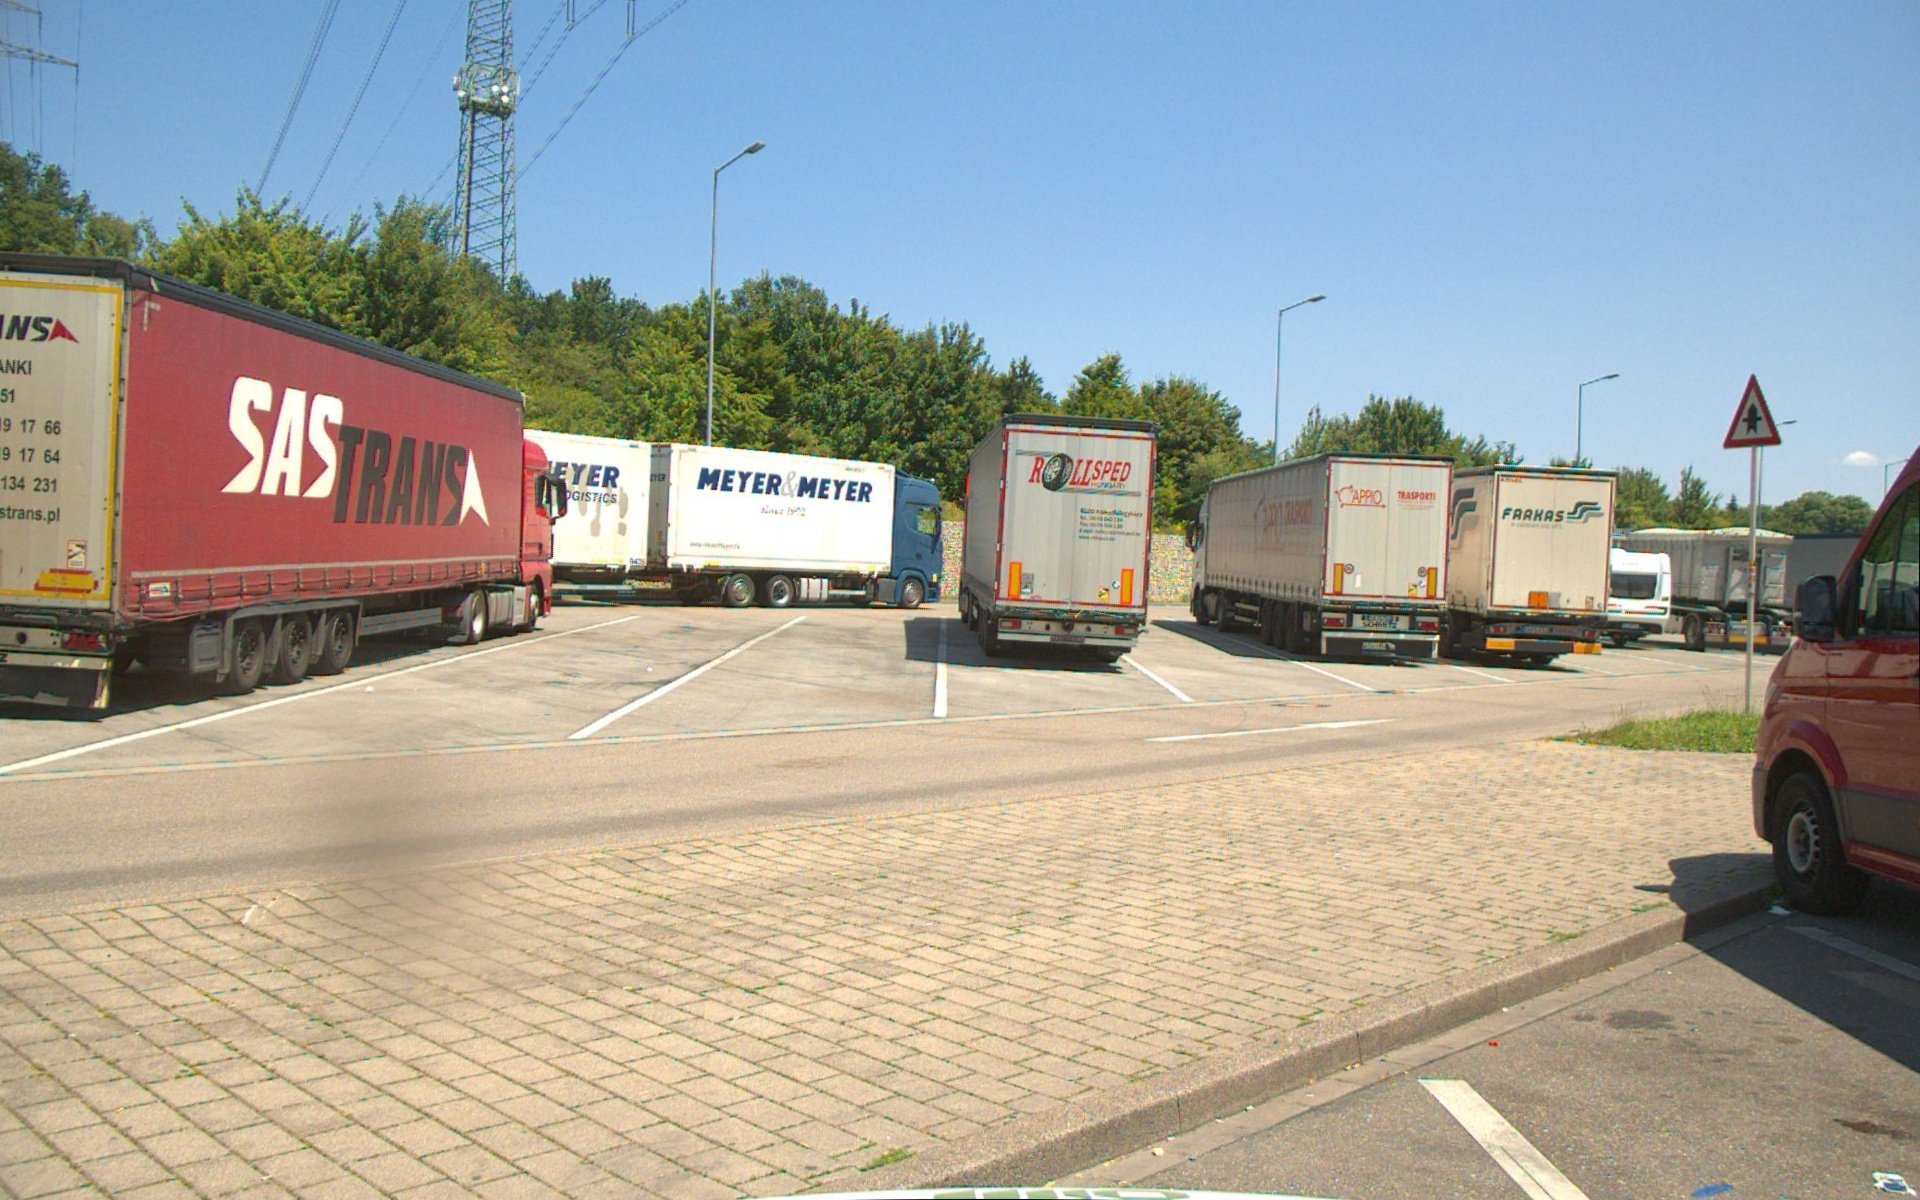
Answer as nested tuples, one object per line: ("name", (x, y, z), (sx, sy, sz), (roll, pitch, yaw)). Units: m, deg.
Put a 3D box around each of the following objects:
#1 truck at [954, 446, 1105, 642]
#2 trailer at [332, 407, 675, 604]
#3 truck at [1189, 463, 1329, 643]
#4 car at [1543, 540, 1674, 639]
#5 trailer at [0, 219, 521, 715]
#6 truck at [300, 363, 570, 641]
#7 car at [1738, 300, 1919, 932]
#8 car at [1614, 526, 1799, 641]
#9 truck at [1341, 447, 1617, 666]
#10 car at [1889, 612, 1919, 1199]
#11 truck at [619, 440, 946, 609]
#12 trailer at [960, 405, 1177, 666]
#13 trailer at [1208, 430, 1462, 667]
("truck", (1.450, -1.234, 37.696), (2.814, 4.050, 6.026), (1, 1, -3))
("trailer", (-10.616, -2.034, 39.244), (2.225, 4.138, 7.836), (0, -1, 42))
("truck", (8.035, -1.249, 45.102), (2.607, 4.530, 5.863), (1, 1, -1))
("car", (18.245, -0.278, 46.717), (2.072, 2.645, 3.999), (1, 0, -1))
("trailer", (-8.633, -1.287, 20.970), (2.743, 4.293, 13.200), (1, 1, -1))
("truck", (-8.718, -1.546, 28.224), (2.748, 4.205, 5.893), (1, 1, -1))
("car", (4.977, 0.100, 5.561), (1.952, 2.679, 6.385), (1, 1, 3))
("car", (21.711, -0.507, 48.475), (2.448, 3.128, 6.350), (1, 1, -1))
("truck", (11.724, -0.841, 38.921), (2.534, 4.299, 11.967), (1, 0, -1))
("car", (2.628, 0.773, 1.018), (1.743, 1.483, 3.680), (1, 0, -8))
("truck", (-4.623, -1.904, 45.836), (2.203, 4.104, 9.989), (2, 0, 43))
("trailer", (1.723, -1.123, 31.808), (2.839, 4.083, 11.311), (1, 1, -3))
("trailer", (8.184, -1.102, 38.283), (2.627, 4.530, 12.826), (1, 1, -1))
